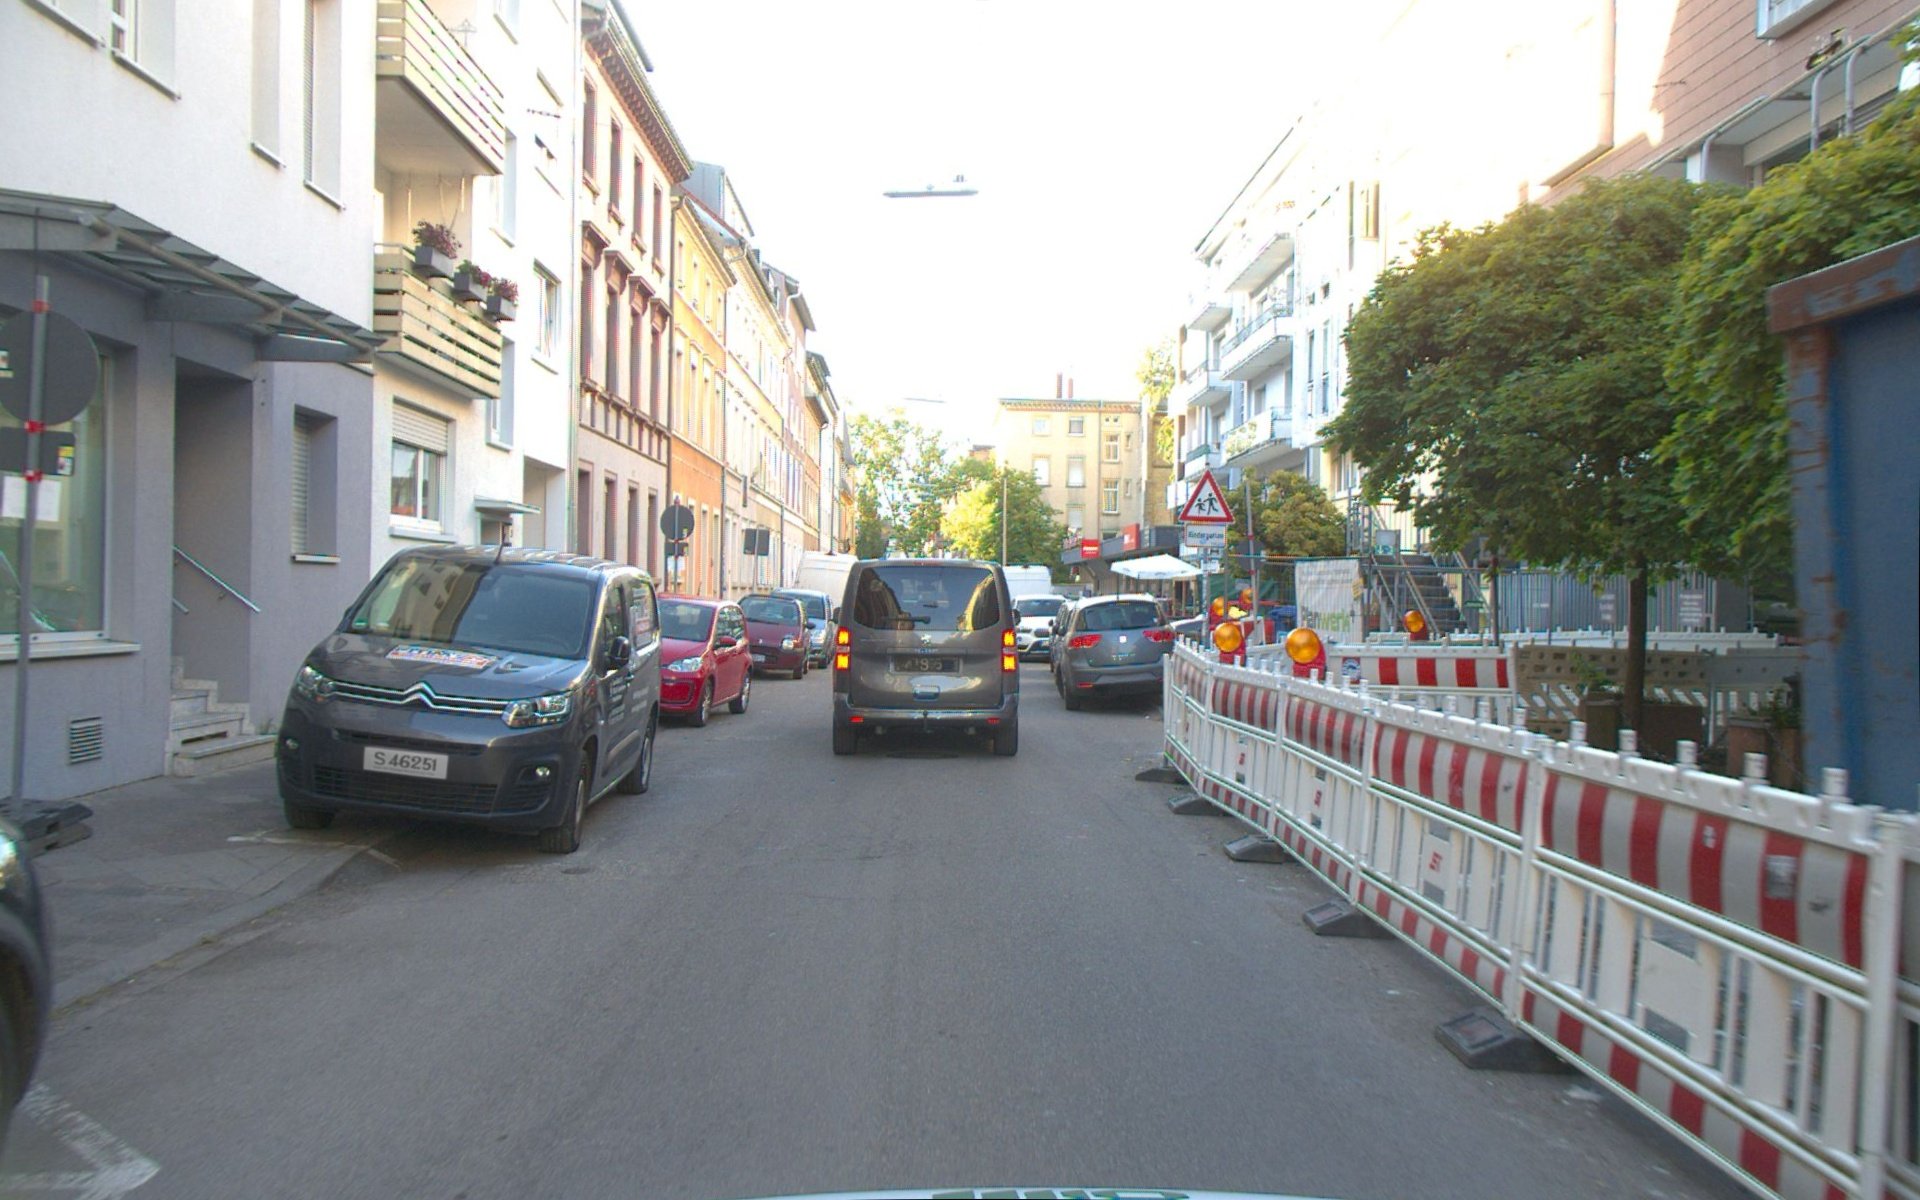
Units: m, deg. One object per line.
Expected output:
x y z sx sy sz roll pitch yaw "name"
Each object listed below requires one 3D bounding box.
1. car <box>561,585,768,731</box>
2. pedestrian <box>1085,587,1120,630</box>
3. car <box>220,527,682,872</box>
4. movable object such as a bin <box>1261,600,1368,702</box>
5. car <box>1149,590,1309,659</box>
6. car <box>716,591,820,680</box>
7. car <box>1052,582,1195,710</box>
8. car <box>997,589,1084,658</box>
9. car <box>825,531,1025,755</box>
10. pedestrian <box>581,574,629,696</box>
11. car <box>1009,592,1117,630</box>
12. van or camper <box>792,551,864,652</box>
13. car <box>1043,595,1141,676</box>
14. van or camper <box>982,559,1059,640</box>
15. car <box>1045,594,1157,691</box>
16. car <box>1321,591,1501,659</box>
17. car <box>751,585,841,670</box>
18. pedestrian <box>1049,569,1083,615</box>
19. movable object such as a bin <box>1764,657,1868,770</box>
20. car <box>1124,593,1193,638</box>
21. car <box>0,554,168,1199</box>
-3.619 0.664 20.852 1.634 1.511 3.607 6 0 3 "car"
5.808 0.332 67.432 0.925 1.750 1.050 0 0 -36 "pedestrian"
-3.216 0.546 11.521 1.954 1.891 4.582 1 0 -3 "car"
5.038 0.722 23.511 1.235 1.400 0.795 2 0 -27 "movable object such as a bin"
7.000 0.621 43.233 3.817 1.635 1.693 2 0 -3 "car"
-3.576 0.635 31.230 1.624 1.473 3.284 4 0 -3 "car"
2.379 0.618 25.047 1.713 1.712 4.526 2 0 1 "car"
1.998 0.572 42.283 1.688 1.640 4.585 1 0 -4 "car"
-0.392 0.379 17.364 1.820 2.049 3.998 -1 0 -2 "car"
-4.984 0.480 23.226 0.485 1.667 0.665 2 0 -2 "pedestrian"
4.492 0.484 72.566 4.532 1.491 1.840 -2 0 -2 "car"
-3.755 0.025 47.933 1.910 2.695 7.136 0 0 -3 "van or camper"
2.668 0.686 34.132 1.587 1.512 4.123 -1 0 -1 "car"
2.048 -0.028 58.318 2.058 2.647 7.508 0 0 -3 "van or camper"
2.449 0.701 29.477 1.589 1.585 3.693 1 0 -1 "car"
11.537 0.633 42.466 4.027 1.688 1.998 0 0 -6 "car"
-3.572 0.568 36.503 1.677 1.673 3.977 3 0 -3 "car"
3.768 -0.276 58.723 0.859 1.583 0.869 -2 1 -23 "pedestrian"
7.977 1.049 15.433 0.545 0.993 0.712 2 0 -6 "movable object such as a bin"
6.697 0.497 55.561 1.567 1.440 3.229 0 0 21 "car"
-2.978 0.700 2.512 1.705 1.627 4.013 1 0 -2 "car"
